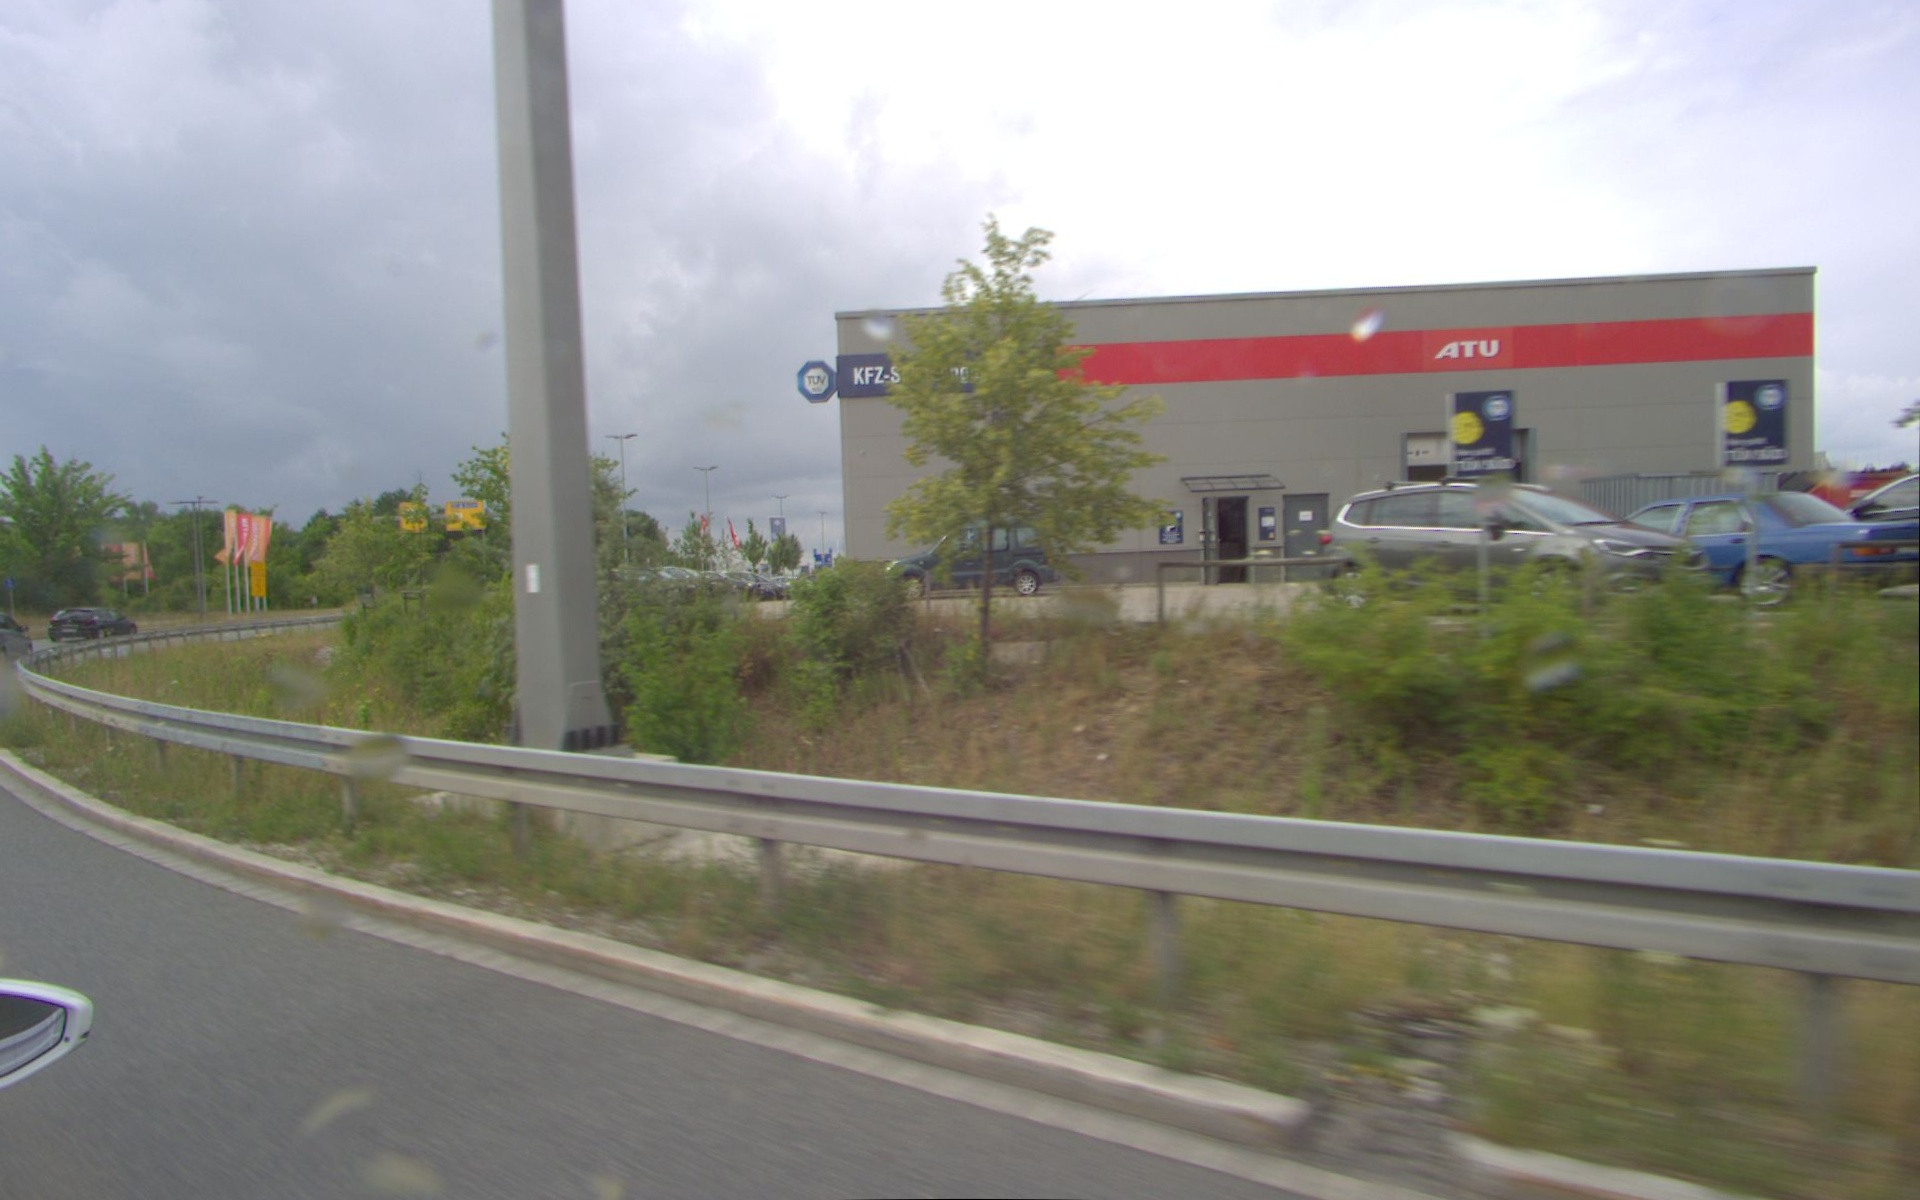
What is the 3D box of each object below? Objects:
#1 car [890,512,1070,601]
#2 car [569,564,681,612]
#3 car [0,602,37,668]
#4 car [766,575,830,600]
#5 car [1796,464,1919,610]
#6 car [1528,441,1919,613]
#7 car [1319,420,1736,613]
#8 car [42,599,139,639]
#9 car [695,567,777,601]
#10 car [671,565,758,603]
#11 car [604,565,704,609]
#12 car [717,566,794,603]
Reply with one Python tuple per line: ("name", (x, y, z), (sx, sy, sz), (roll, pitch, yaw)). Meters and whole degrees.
("car", (0.466, -1.000, 22.838), (3.893, 1.837, 1.703), (-2, 4, 2))
("car", (-12.600, -0.441, 37.780), (3.558, 1.559, 1.643), (-3, 1, 3))
("car", (-26.850, 1.036, 27.334), (1.749, 1.637, 3.900), (-3, -2, -34))
("car", (-10.832, -0.830, 66.983), (3.891, 1.408, 1.595), (-4, 1, 3))
("car", (12.332, -0.788, 11.637), (1.496, 1.674, 3.720), (0, -2, -27))
("car", (9.494, -0.737, 12.540), (1.706, 1.674, 3.845), (0, -2, -26))
("car", (6.650, -0.804, 12.266), (1.777, 1.805, 4.153), (0, -2, -27))
("car", (-37.258, 0.799, 43.020), (1.843, 1.626, 3.726), (-1, -1, -19))
("car", (-11.630, -0.835, 52.191), (3.820, 1.554, 1.721), (-3, 1, 1))
("car", (-12.191, -0.799, 49.926), (3.820, 1.651, 1.721), (-3, 1, 1))
("car", (-12.118, -0.507, 39.754), (3.379, 1.657, 1.731), (-1, 1, 4))
("car", (-11.252, -0.842, 55.214), (3.786, 1.843, 1.721), (-3, 1, 1))
